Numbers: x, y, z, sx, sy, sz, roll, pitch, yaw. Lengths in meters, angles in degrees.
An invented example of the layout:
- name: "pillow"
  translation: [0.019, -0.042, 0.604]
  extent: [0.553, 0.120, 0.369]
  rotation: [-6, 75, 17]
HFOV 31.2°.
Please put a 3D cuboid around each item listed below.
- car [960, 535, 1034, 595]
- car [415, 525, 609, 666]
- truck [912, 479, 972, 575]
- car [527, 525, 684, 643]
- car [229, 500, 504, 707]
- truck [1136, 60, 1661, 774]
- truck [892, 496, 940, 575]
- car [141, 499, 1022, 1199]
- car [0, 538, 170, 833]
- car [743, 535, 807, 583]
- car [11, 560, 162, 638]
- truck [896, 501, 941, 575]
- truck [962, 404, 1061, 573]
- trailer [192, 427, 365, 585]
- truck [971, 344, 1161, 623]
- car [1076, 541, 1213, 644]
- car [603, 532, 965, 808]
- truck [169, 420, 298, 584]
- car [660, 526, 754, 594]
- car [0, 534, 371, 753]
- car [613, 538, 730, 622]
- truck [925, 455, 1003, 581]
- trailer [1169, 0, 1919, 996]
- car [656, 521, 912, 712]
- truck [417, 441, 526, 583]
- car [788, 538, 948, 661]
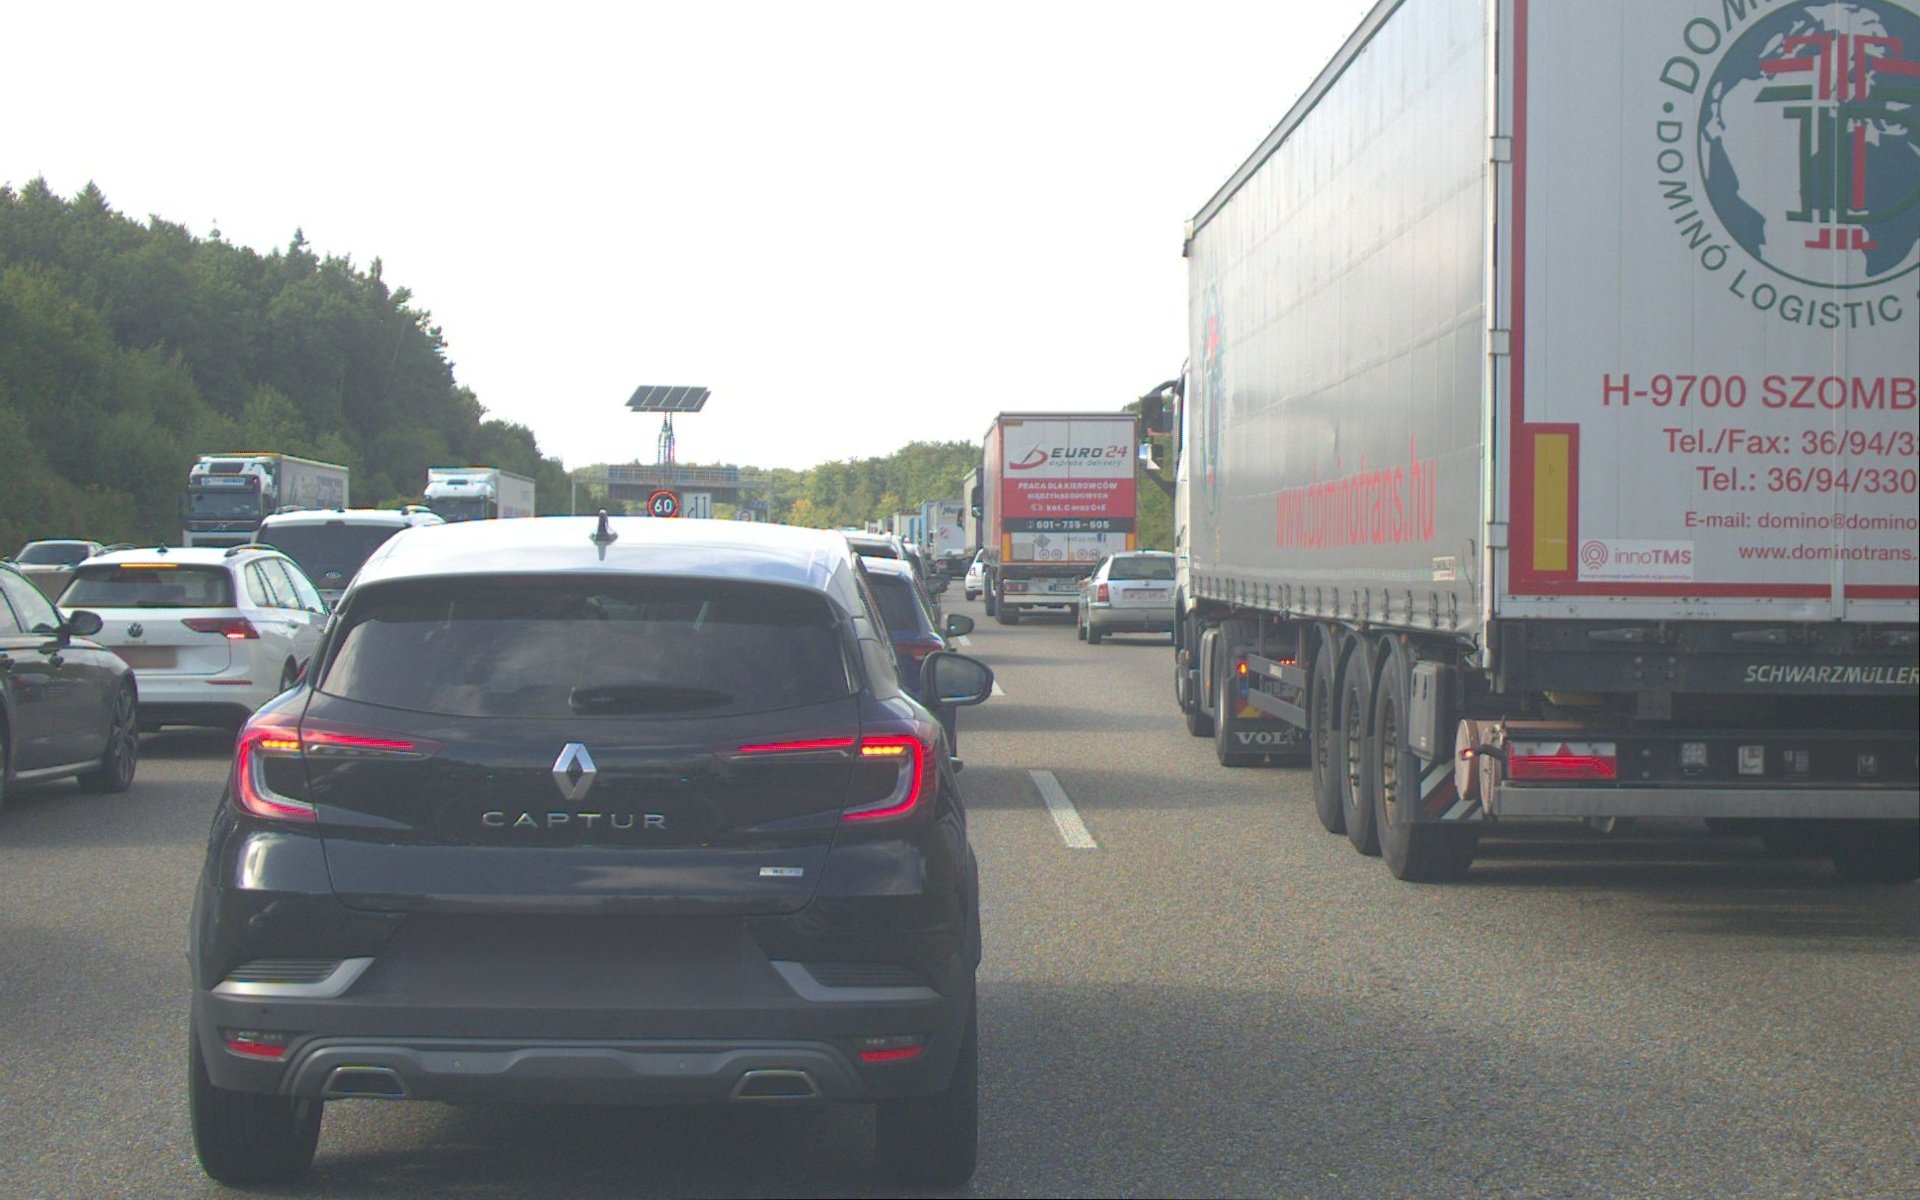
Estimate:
- name: "car"
  translation: [1.017, -1.003, 96.771]
  extent: [1.993, 1.607, 4.000]
  rotation: [1, 1, 0]
- name: "car"
  translation: [-5.494, -0.069, 42.570]
  extent: [1.855, 1.635, 3.926]
  rotation: [1, 0, 0]
- name: "truck"
  translation: [-0.978, -4.009, 191.642]
  extent: [3.166, 5.142, 12.737]
  rotation: [1, 0, 0]
- name: "car"
  translation: [-5.393, -0.258, 52.752]
  extent: [1.993, 1.716, 4.000]
  rotation: [1, 0, 0]
- name: "car"
  translation: [-5.481, 0.010, 32.274]
  extent: [1.911, 1.783, 4.418]
  rotation: [1, 0, -2]
- name: "truck"
  translation: [3.028, -1.249, 25.535]
  extent: [2.997, 4.651, 5.940]
  rotation: [1, 1, -1]
- name: "truck"
  translation: [-3.064, -4.529, 245.073]
  extent: [3.166, 5.486, 12.737]
  rotation: [1, 0, 0]
- name: "car"
  translation: [-0.763, 0.538, 9.213]
  extent: [1.805, 1.547, 4.000]
  rotation: [0, 1, 2]
- name: "car"
  translation: [-5.708, 0.397, 18.481]
  extent: [1.843, 1.451, 4.748]
  rotation: [1, 1, 0]
- name: "car"
  translation: [-6.326, -1.411, 117.869]
  extent: [1.993, 1.607, 4.000]
  rotation: [1, 1, 0]
- name: "car"
  translation: [-17.272, -0.043, 68.177]
  extent: [1.954, 1.423, 4.324]
  rotation: [1, 1, -1]
- name: "truck"
  translation: [-3.145, -4.695, 263.107]
  extent: [3.166, 5.486, 12.737]
  rotation: [1, 0, 0]
- name: "truck"
  translation: [1.702, -3.699, 118.729]
  extent: [3.166, 5.486, 12.737]
  rotation: [1, 0, 0]
- name: "trailer"
  translation: [-22.144, -2.947, 112.637]
  extent: [2.927, 4.813, 14.655]
  rotation: [1, 1, -1]
- name: "truck"
  translation: [1.959, -2.180, 69.082]
  extent: [3.365, 5.027, 12.737]
  rotation: [1, 0, 0]
- name: "car"
  translation: [2.841, -0.132, 53.753]
  extent: [1.804, 1.527, 3.926]
  rotation: [1, 0, -2]
- name: "car"
  translation: [-0.984, 0.371, 21.110]
  extent: [1.993, 1.509, 4.000]
  rotation: [1, 0, 0]
- name: "truck"
  translation: [-22.086, -2.949, 104.692]
  extent: [2.931, 4.842, 4.766]
  rotation: [1, 0, -1]
- name: "car"
  translation: [-6.139, -0.992, 83.760]
  extent: [1.993, 1.607, 4.000]
  rotation: [1, 1, 0]
- name: "car"
  translation: [-5.621, 0.270, 25.252]
  extent: [1.804, 1.456, 4.308]
  rotation: [1, 1, 0]
- name: "car"
  translation: [-5.720, -0.409, 68.665]
  extent: [1.993, 1.607, 4.000]
  rotation: [1, 0, 0]
- name: "truck"
  translation: [0.267, -3.637, 156.835]
  extent: [3.167, 5.486, 12.737]
  rotation: [1, 0, 2]
- name: "trailer"
  translation: [3.163, -1.103, 18.274]
  extent: [3.002, 4.645, 13.291]
  rotation: [1, 1, -1]
- name: "car"
  translation: [-1.443, 0.113, 29.629]
  extent: [1.993, 1.509, 4.000]
  rotation: [1, 0, 0]
- name: "truck"
  translation: [-18.100, -3.222, 127.863]
  extent: [3.088, 5.083, 7.142]
  rotation: [1, 0, -1]
- name: "car"
  translation: [-1.164, -0.025, 45.223]
  extent: [1.993, 1.509, 4.000]
  rotation: [1, 0, 0]
